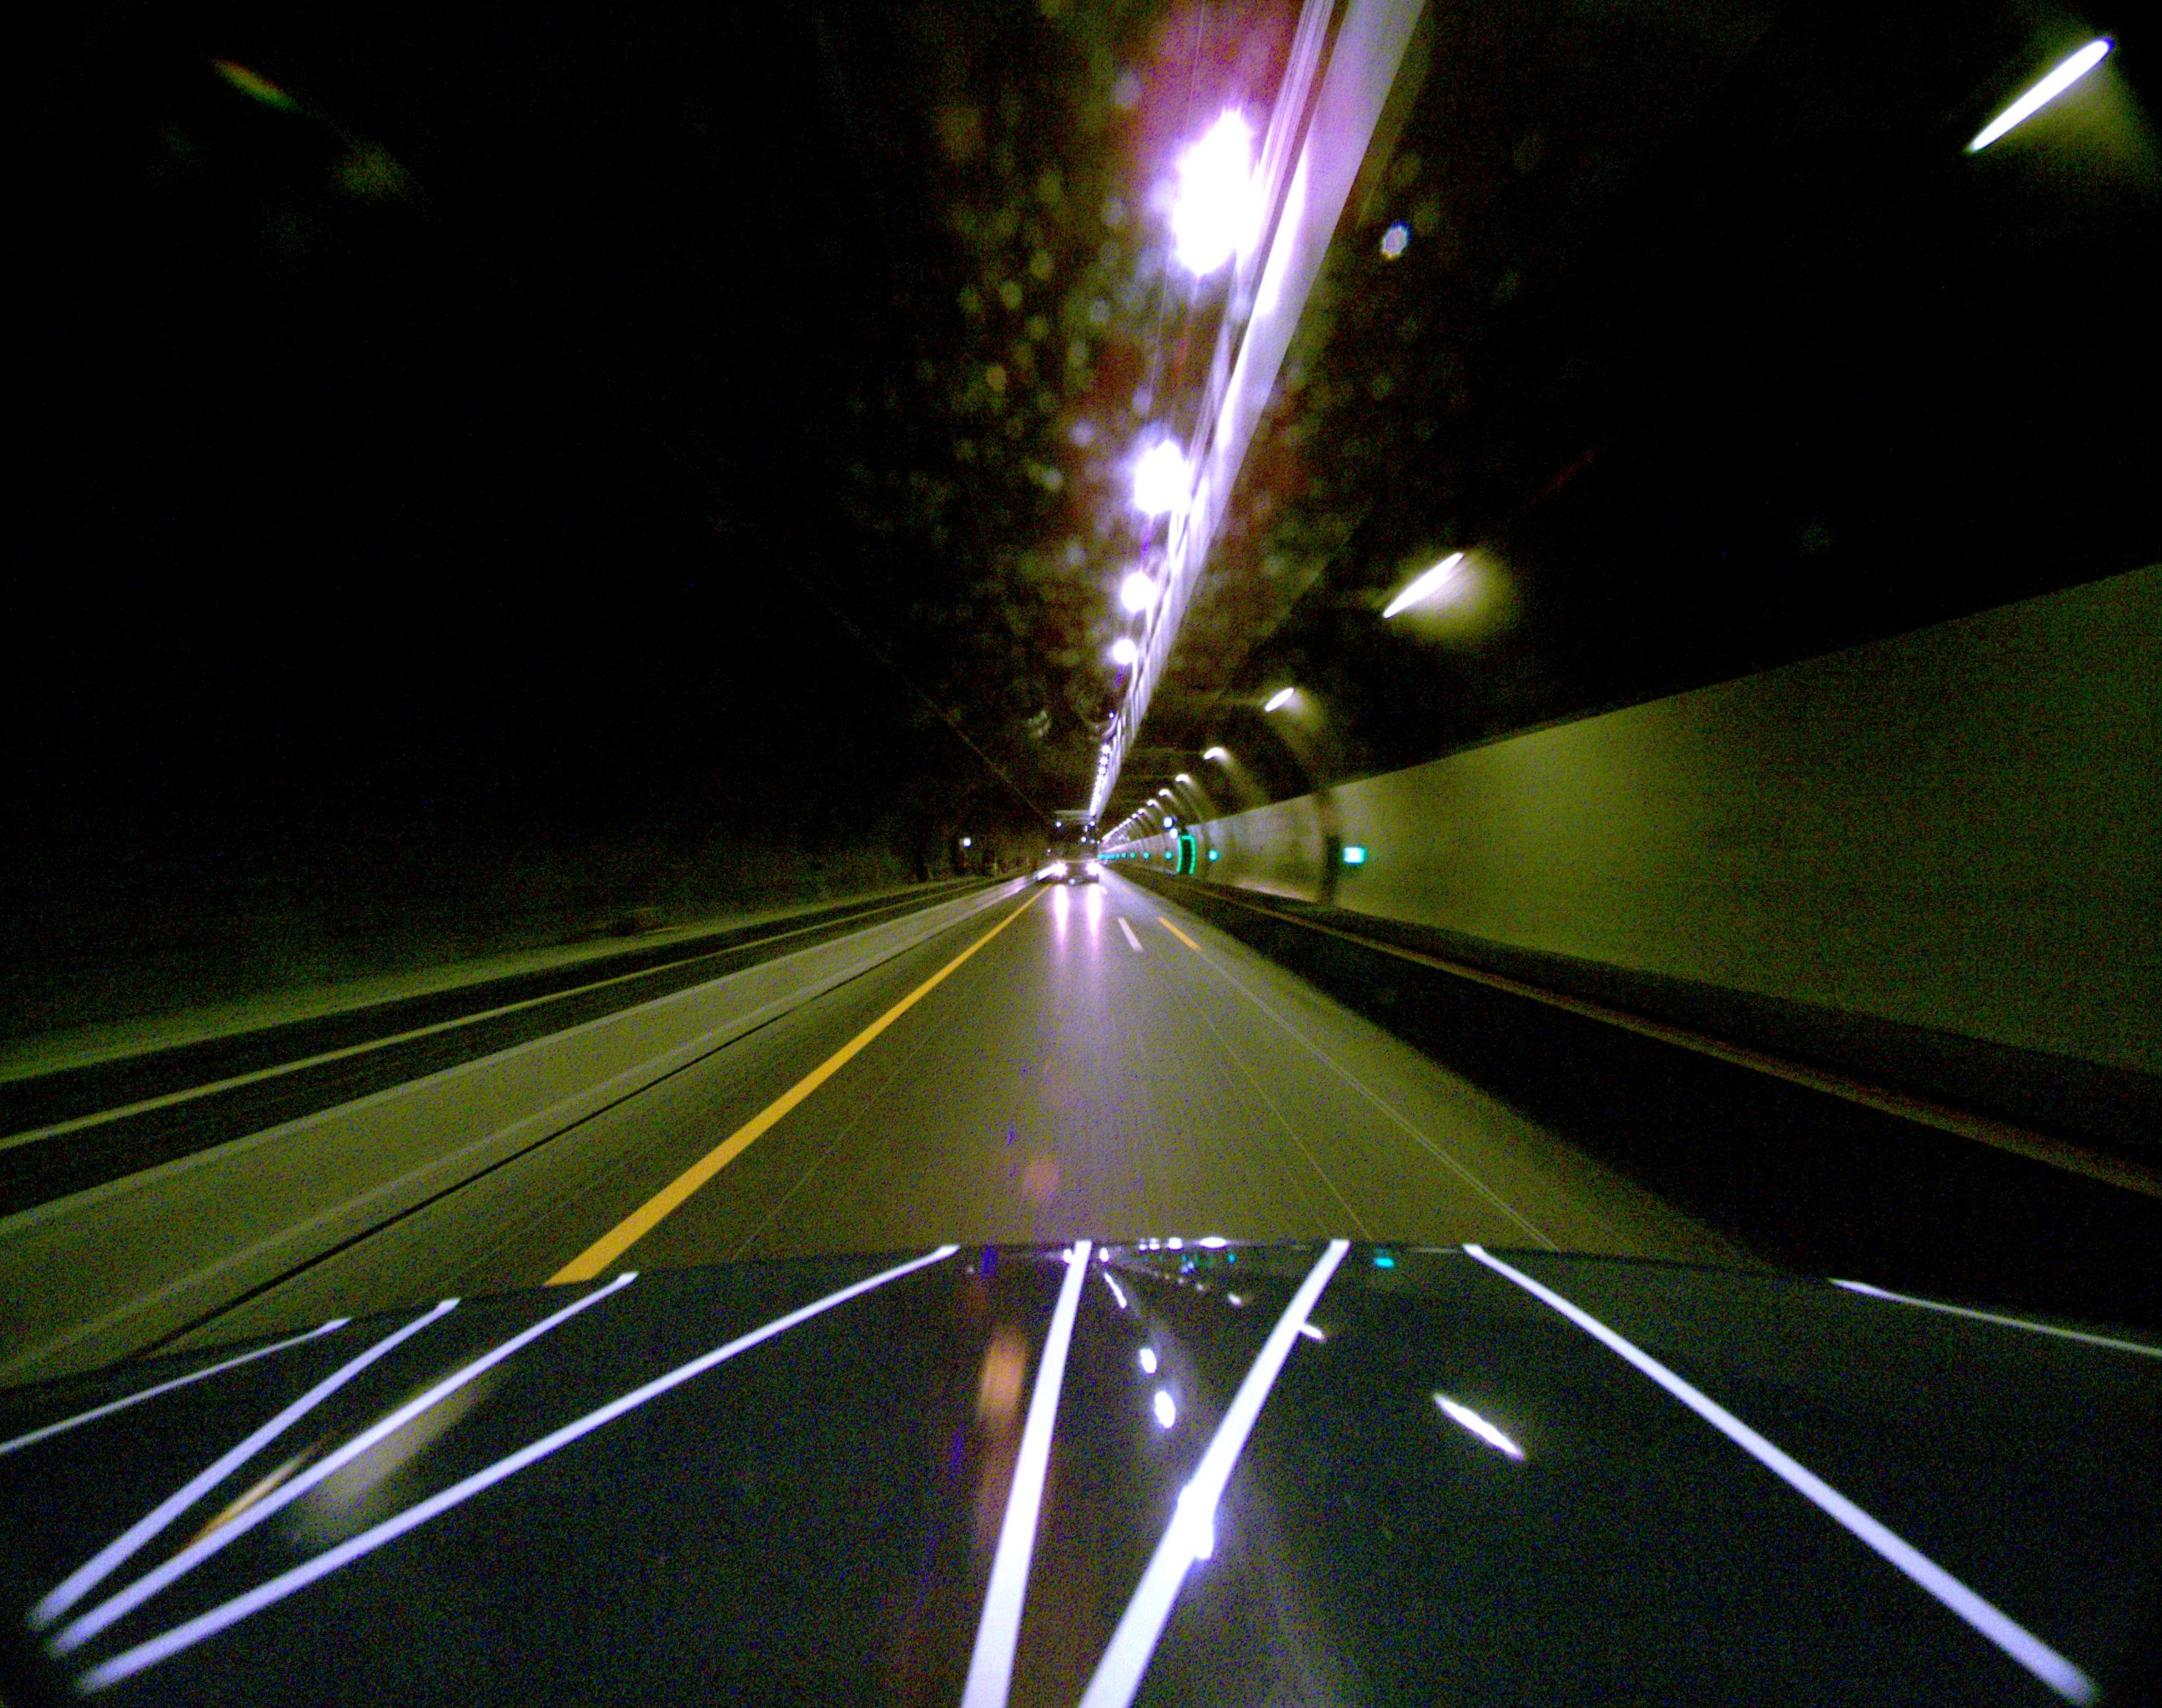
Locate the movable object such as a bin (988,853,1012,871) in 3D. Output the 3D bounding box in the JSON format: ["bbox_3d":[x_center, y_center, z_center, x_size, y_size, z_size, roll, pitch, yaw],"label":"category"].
[{"bbox_3d":[-8.095,0.758,76.531,1.865,1.665,4.501,2,0,0],"label":"movable object such as a bin"}]

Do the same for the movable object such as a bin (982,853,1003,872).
[{"bbox_3d":[-8.206,0.770,70.620,1.560,1.699,3.054,-2,1,0],"label":"movable object such as a bin"}]

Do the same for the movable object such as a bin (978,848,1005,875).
[{"bbox_3d":[-7.604,0.582,64.892,1.688,2.133,4.627,-2,1,0],"label":"movable object such as a bin"}]

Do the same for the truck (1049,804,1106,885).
[{"bbox_3d":[-0.136,-0.576,44.799,2.951,4.338,6.674,-2,1,1],"label":"truck"}]

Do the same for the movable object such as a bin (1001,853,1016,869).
[{"bbox_3d":[-7.860,0.739,82.333,1.306,1.584,3.055,2,0,0],"label":"movable object such as a bin"}]

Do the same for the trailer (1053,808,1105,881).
[{"bbox_3d":[-0.071,-0.617,50.283,2.940,4.316,10.051,-2,1,1],"label":"trailer"}]
